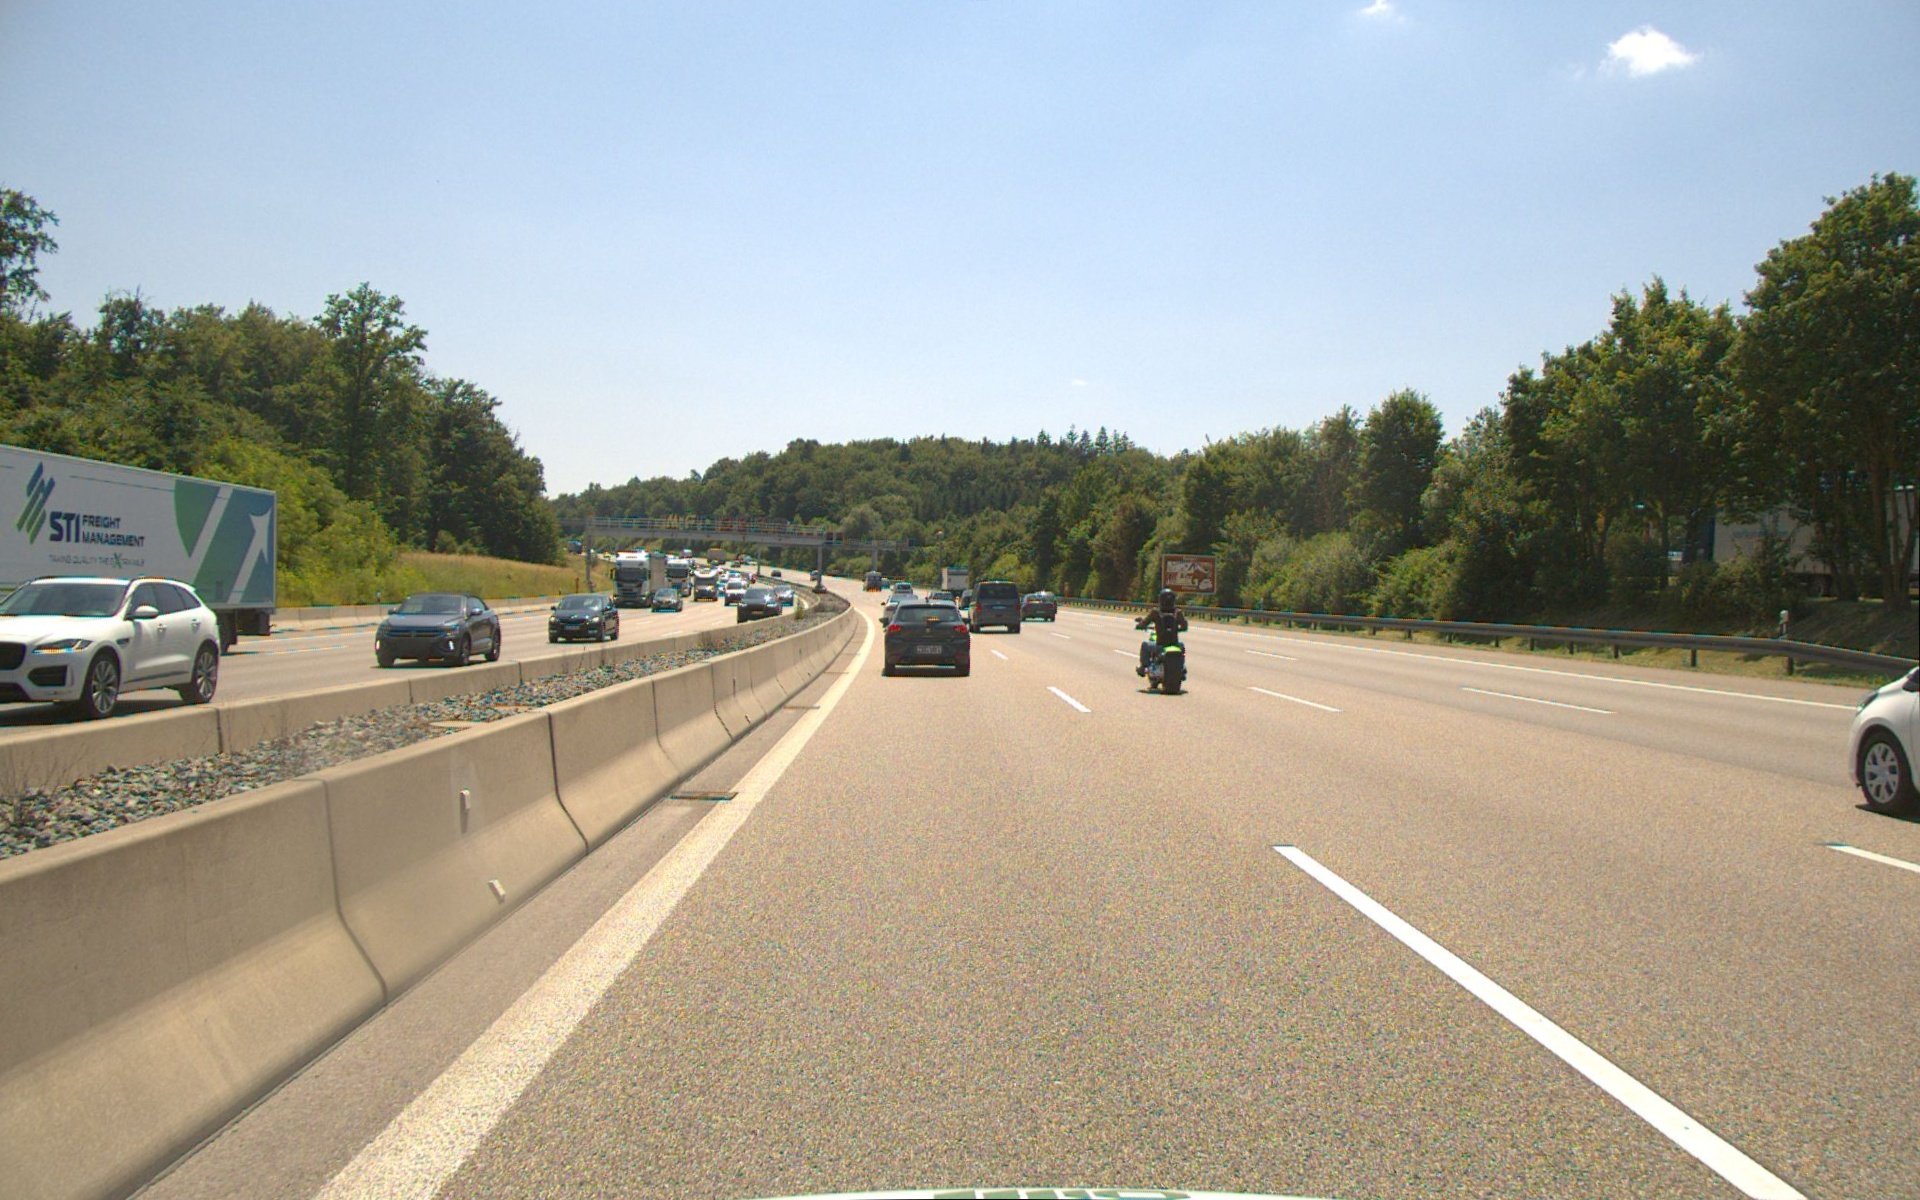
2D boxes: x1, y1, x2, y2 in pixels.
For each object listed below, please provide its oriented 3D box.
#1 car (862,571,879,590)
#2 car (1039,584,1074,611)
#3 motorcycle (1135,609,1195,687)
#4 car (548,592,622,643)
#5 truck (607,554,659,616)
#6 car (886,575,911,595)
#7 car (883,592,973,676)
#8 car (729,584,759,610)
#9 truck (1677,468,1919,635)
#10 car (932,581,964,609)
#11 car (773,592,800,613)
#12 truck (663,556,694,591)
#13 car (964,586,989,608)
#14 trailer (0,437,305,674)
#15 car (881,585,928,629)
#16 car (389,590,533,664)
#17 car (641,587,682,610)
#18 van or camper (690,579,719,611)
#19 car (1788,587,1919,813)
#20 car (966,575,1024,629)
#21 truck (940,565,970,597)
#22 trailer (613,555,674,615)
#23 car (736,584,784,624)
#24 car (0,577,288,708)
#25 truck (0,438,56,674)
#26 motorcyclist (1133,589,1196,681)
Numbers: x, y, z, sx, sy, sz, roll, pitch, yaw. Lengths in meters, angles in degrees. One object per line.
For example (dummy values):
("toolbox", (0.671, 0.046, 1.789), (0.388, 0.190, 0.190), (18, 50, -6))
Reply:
("car", (-12.123, -2.666, 224.717), (2.220, 2.412, 4.700), (0, 1, -3))
("car", (6.475, -0.186, 111.280), (1.954, 1.758, 3.997), (0, 0, -3))
("motorcycle", (3.349, 0.762, 27.206), (0.525, 1.155, 2.435), (0, 1, -4))
("car", (-11.675, 0.521, 51.700), (1.560, 1.532, 3.997), (0, 0, -3))
("truck", (-24.149, -1.084, 122.426), (2.982, 4.448, 6.449), (1, 0, -4))
("car", (-5.839, -1.414, 156.742), (2.062, 1.774, 4.684), (0, 2, -5))
("car", (-0.680, 0.630, 33.241), (1.673, 1.458, 3.999), (1, 2, -2))
("car", (-17.489, -0.267, 133.944), (1.962, 2.049, 5.182), (0, 0, -2))
("truck", (32.228, -1.512, 61.848), (3.448, 5.413, 16.383), (1, 0, -1))
("car", (-0.792, -0.331, 108.929), (1.906, 1.742, 3.997), (1, 0, -3))
("car", (-14.021, 0.220, 134.163), (1.835, 1.662, 5.161), (0, 0, -2))
("truck", (-30.139, -2.772, 177.274), (2.651, 3.605, 6.613), (1, 0, -6))
("car", (1.184, -0.240, 123.171), (1.632, 1.433, 4.902), (1, 2, -2))
("trailer", (-18.328, -0.796, 35.044), (3.164, 4.108, 15.282), (0, 0, -1))
("car", (-2.492, 0.335, 73.528), (1.972, 1.878, 3.996), (0, -1, -4))
("car", (-11.052, 0.557, 36.973), (1.953, 1.545, 4.585), (0, 0, -2))
("car", (-19.585, -0.117, 108.737), (1.953, 1.522, 4.797), (0, 0, -1))
("van or camper", (-23.831, -0.484, 154.388), (2.510, 2.982, 7.336), (0, 0, -8))
("car", (7.440, 0.689, 10.801), (1.714, 1.545, 4.482), (0, 0, -2))
("car", (1.360, 0.099, 66.240), (1.924, 2.069, 5.079), (0, 0, -4))
("truck", (-0.569, -2.062, 176.665), (2.925, 3.221, 7.573), (0, 2, -2))
("trailer", (-24.711, -1.084, 129.948), (2.971, 4.437, 14.263), (1, 0, -4))
("car", (-9.549, 0.179, 79.130), (1.790, 1.861, 4.983), (0, 0, -1))
("car", (-10.916, 0.529, 22.517), (1.798, 1.570, 4.698), (1, 0, -3))
("truck", (-18.150, -0.788, 27.130), (3.155, 4.073, 6.413), (1, 0, -2))
("motorcyclist", (3.340, 0.550, 27.032), (0.836, 1.452, 1.022), (0, 1, -5))
